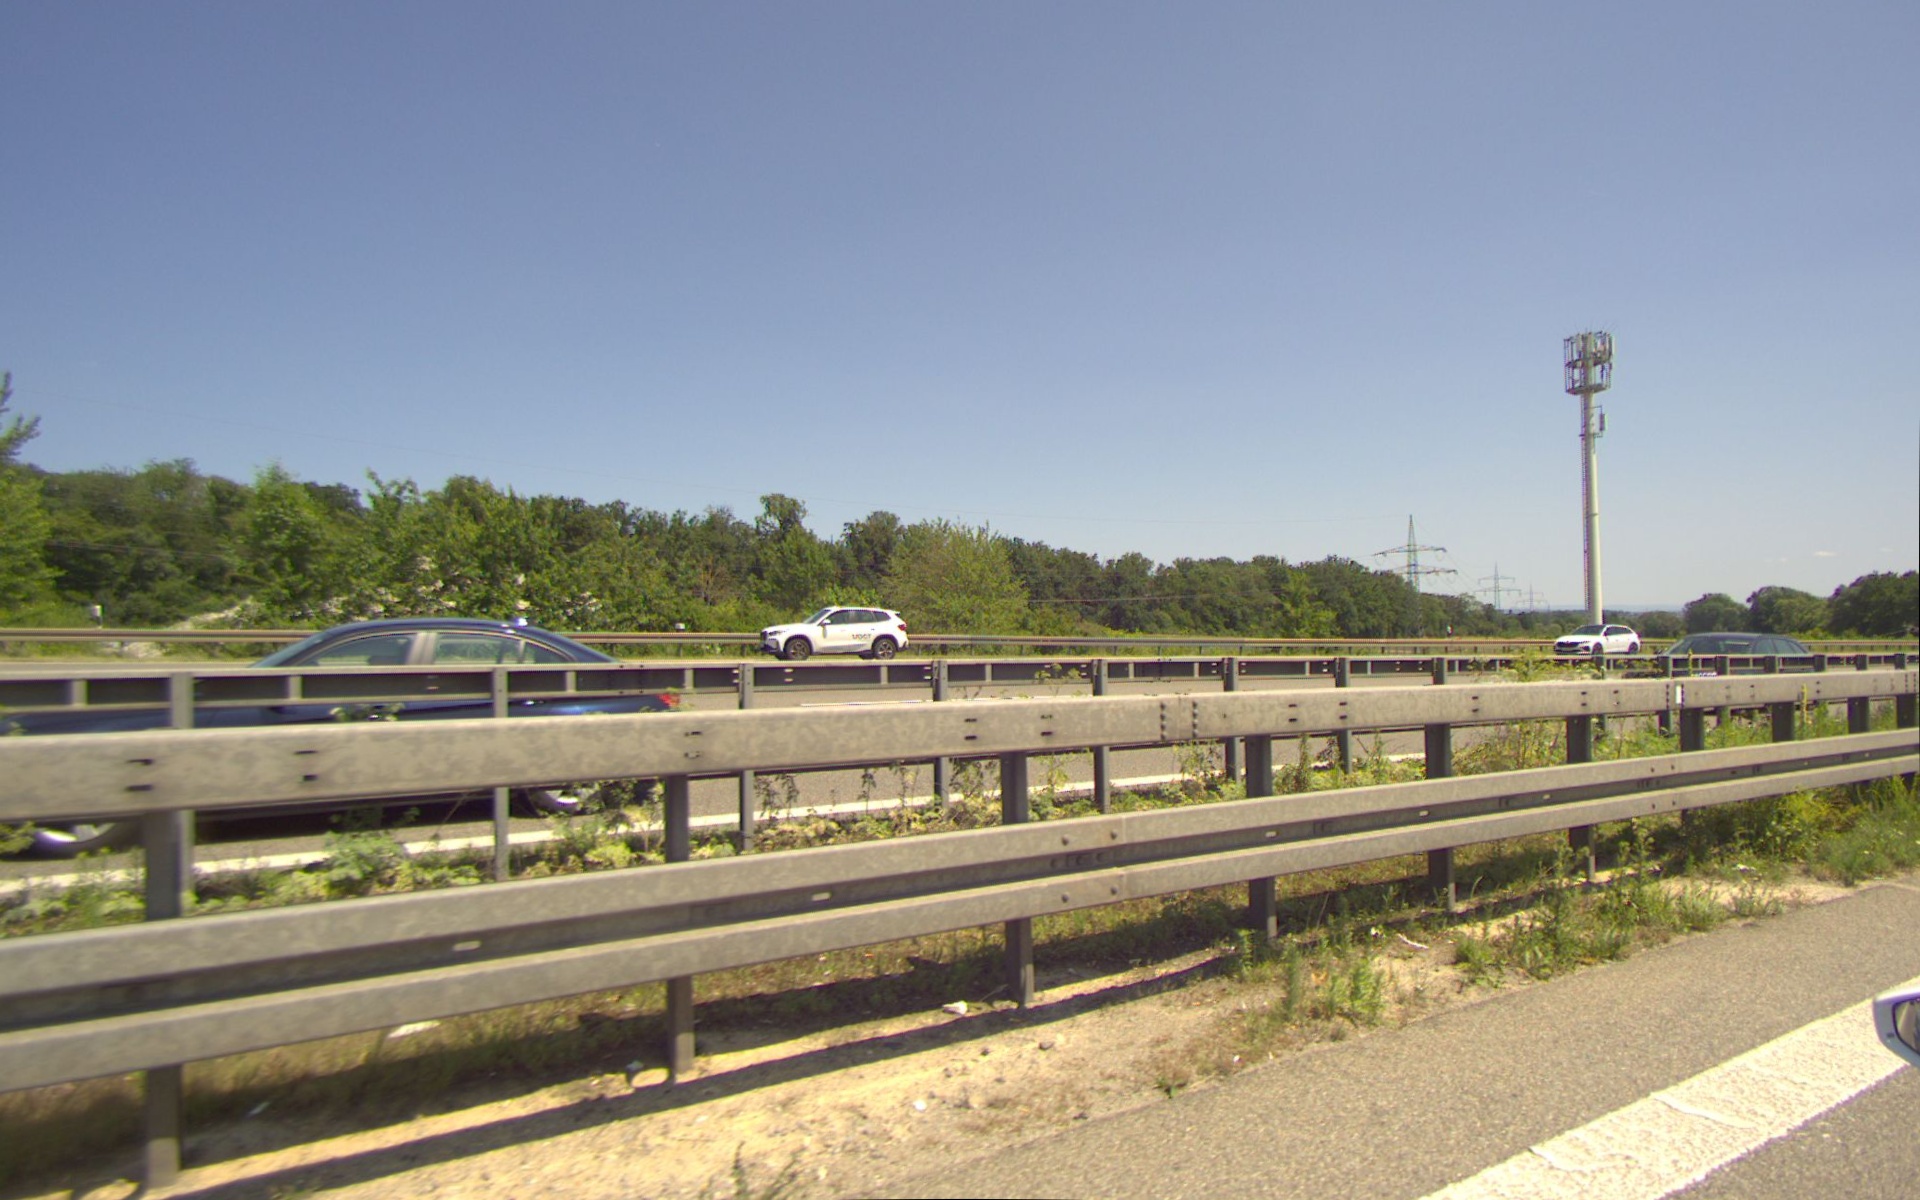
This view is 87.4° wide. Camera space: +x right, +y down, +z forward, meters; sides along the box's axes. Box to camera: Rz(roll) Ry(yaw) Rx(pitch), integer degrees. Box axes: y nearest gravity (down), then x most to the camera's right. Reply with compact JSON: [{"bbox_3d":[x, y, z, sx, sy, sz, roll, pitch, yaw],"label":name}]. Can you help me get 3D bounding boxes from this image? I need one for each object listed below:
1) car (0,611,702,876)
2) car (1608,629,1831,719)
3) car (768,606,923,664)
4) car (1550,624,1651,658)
[{"bbox_3d":[-4.411,0.856,7.336,4.583,1.483,1.859,1,-1,-30],"label":"car"},{"bbox_3d":[14.247,1.309,18.784,4.649,1.483,1.670,1,-1,-30],"label":"car"},{"bbox_3d":[-3.428,1.033,30.066,4.339,1.634,1.674,1,-1,-23],"label":"car"},{"bbox_3d":[28.498,1.830,44.672,4.731,1.420,1.514,1,-1,-25],"label":"car"}]
